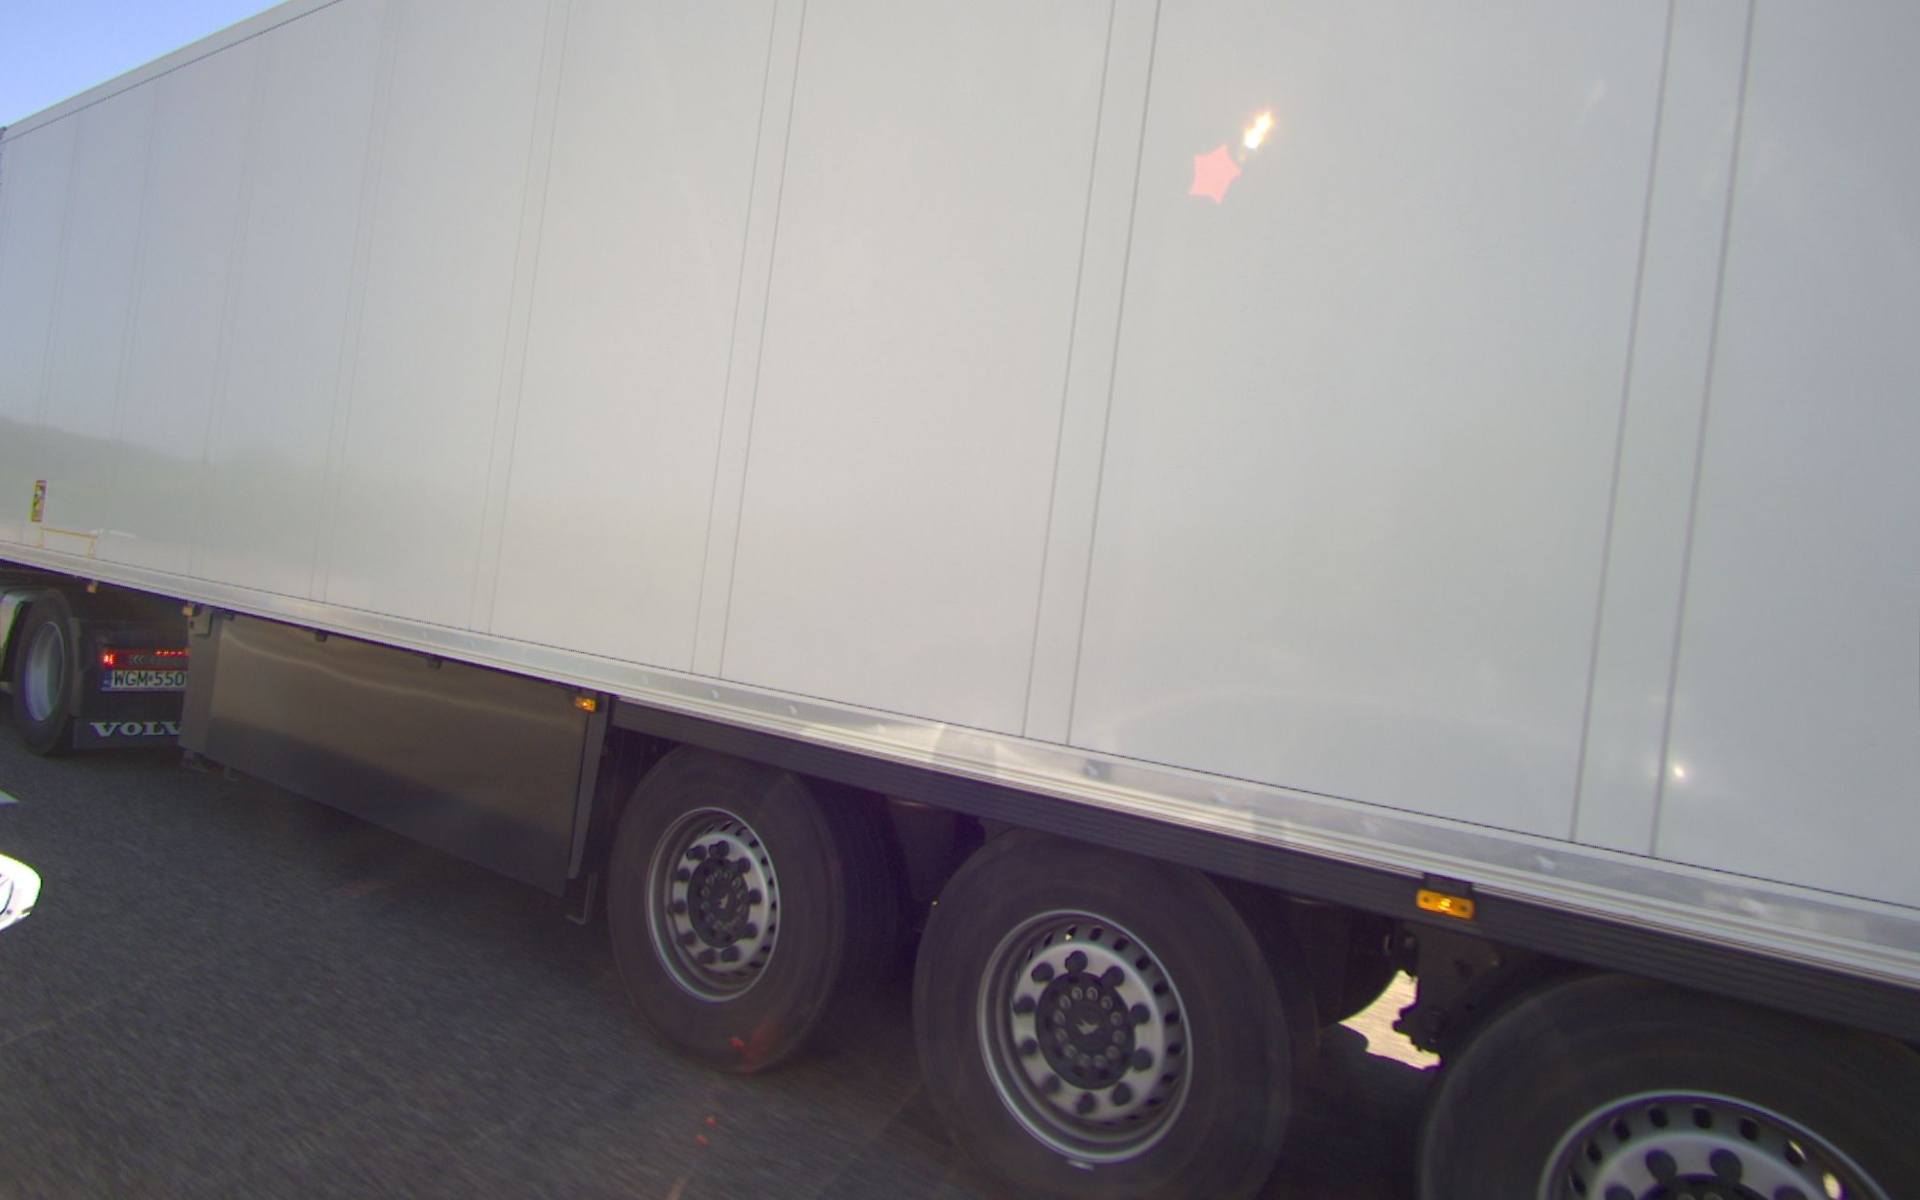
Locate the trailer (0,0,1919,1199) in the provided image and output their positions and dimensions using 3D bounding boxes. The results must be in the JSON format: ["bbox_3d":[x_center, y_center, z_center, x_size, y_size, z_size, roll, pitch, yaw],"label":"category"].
[{"bbox_3d":[-2.430,-0.848,5.788,15.931,4.065,2.943,6,-1,32],"label":"trailer"}]

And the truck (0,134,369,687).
[{"bbox_3d":[-9.230,-1.586,9.993,6.000,4.032,2.946,6,-1,31],"label":"truck"}]
